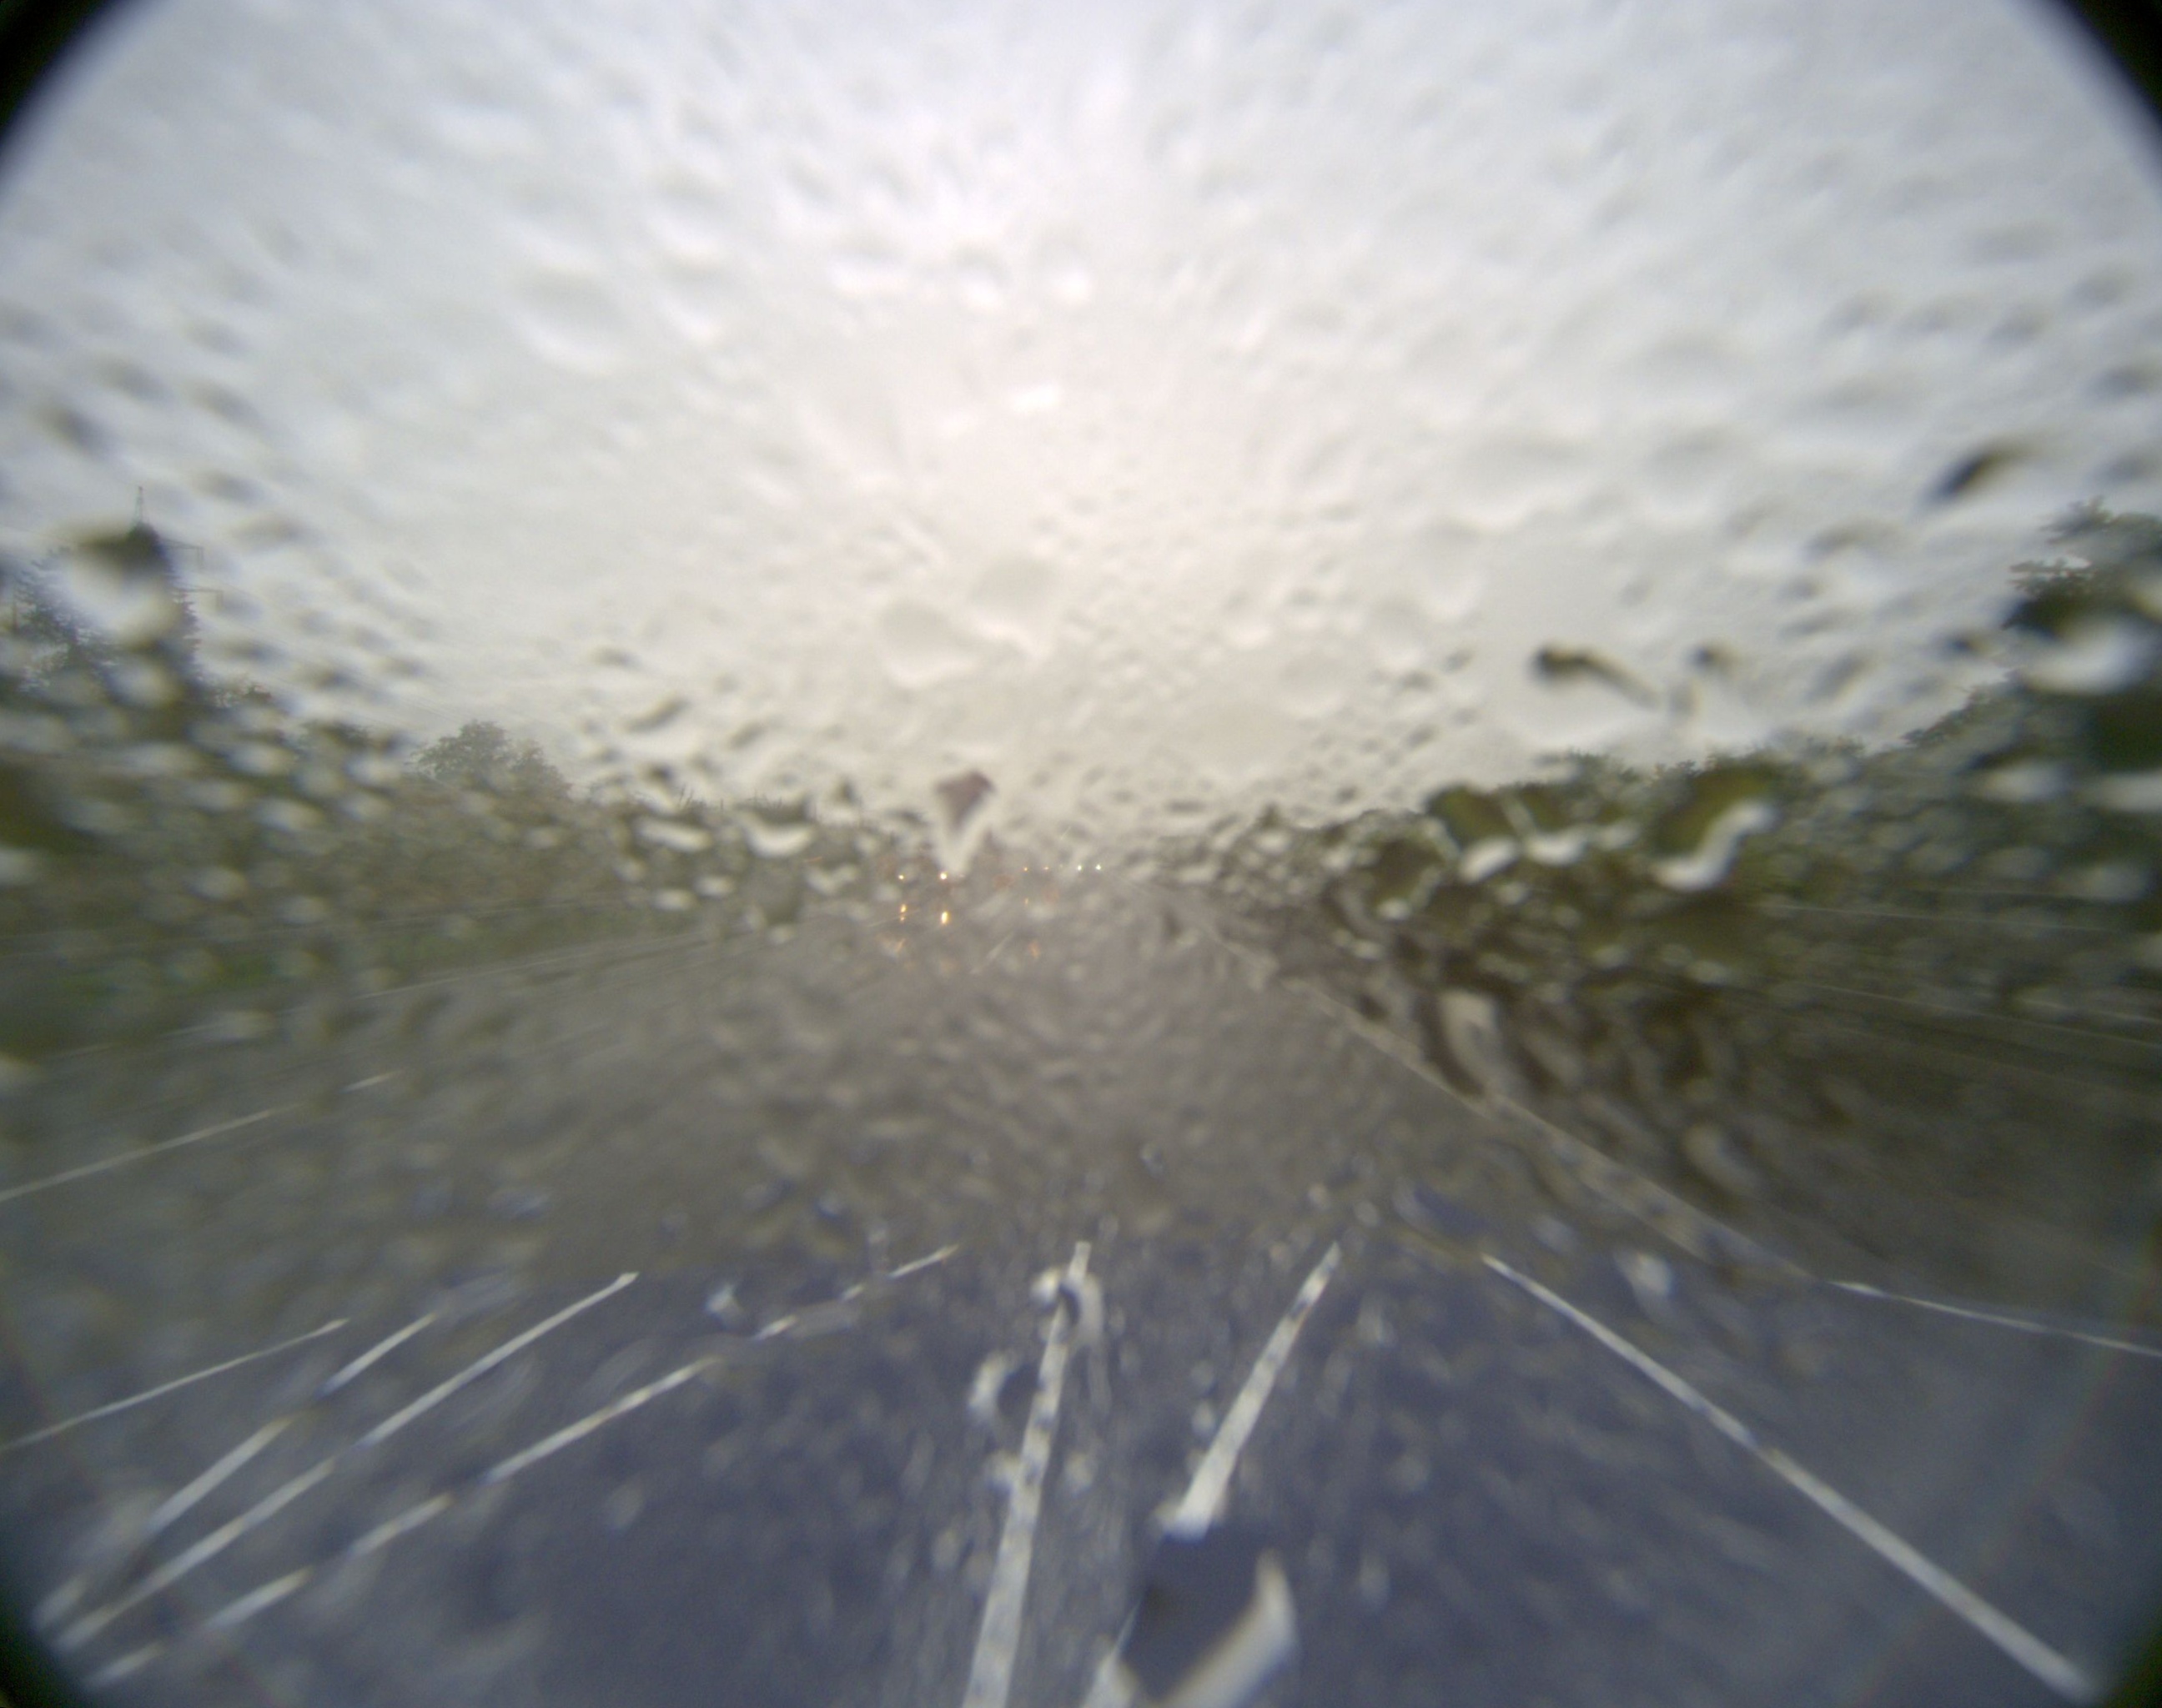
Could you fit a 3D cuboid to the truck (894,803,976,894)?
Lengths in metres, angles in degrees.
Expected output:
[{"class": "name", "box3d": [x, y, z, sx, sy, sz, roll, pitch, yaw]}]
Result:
[{"class": "truck", "box3d": [-6.814, -0.220, 36.314, 2.457, 3.866, 6.199, -2, 0, 1]}]

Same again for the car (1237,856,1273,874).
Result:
[{"class": "car", "box3d": [15.632, 0.936, 68.480, 1.932, 1.503, 5.434, -2, 0, 0]}]

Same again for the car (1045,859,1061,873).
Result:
[{"class": "car", "box3d": [-3.470, 1.462, 95.435, 1.845, 1.671, 4.000, -2, 0, 0]}]

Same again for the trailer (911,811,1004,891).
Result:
[{"class": "trailer", "box3d": [-6.758, -0.094, 44.626, 2.486, 3.743, 16.545, -2, 0, 1]}]

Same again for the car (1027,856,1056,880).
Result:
[{"class": "car", "box3d": [-2.660, 0.944, 51.838, 1.663, 1.491, 3.836, -2, 0, 1]}]

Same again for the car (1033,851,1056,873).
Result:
[{"class": "car", "box3d": [-2.752, 0.604, 57.354, 1.517, 1.606, 3.186, -2, 0, 0]}]

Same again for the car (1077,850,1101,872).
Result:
[{"class": "car", "box3d": [0.675, 0.593, 62.412, 1.845, 1.671, 4.000, -2, 0, 0]}]
